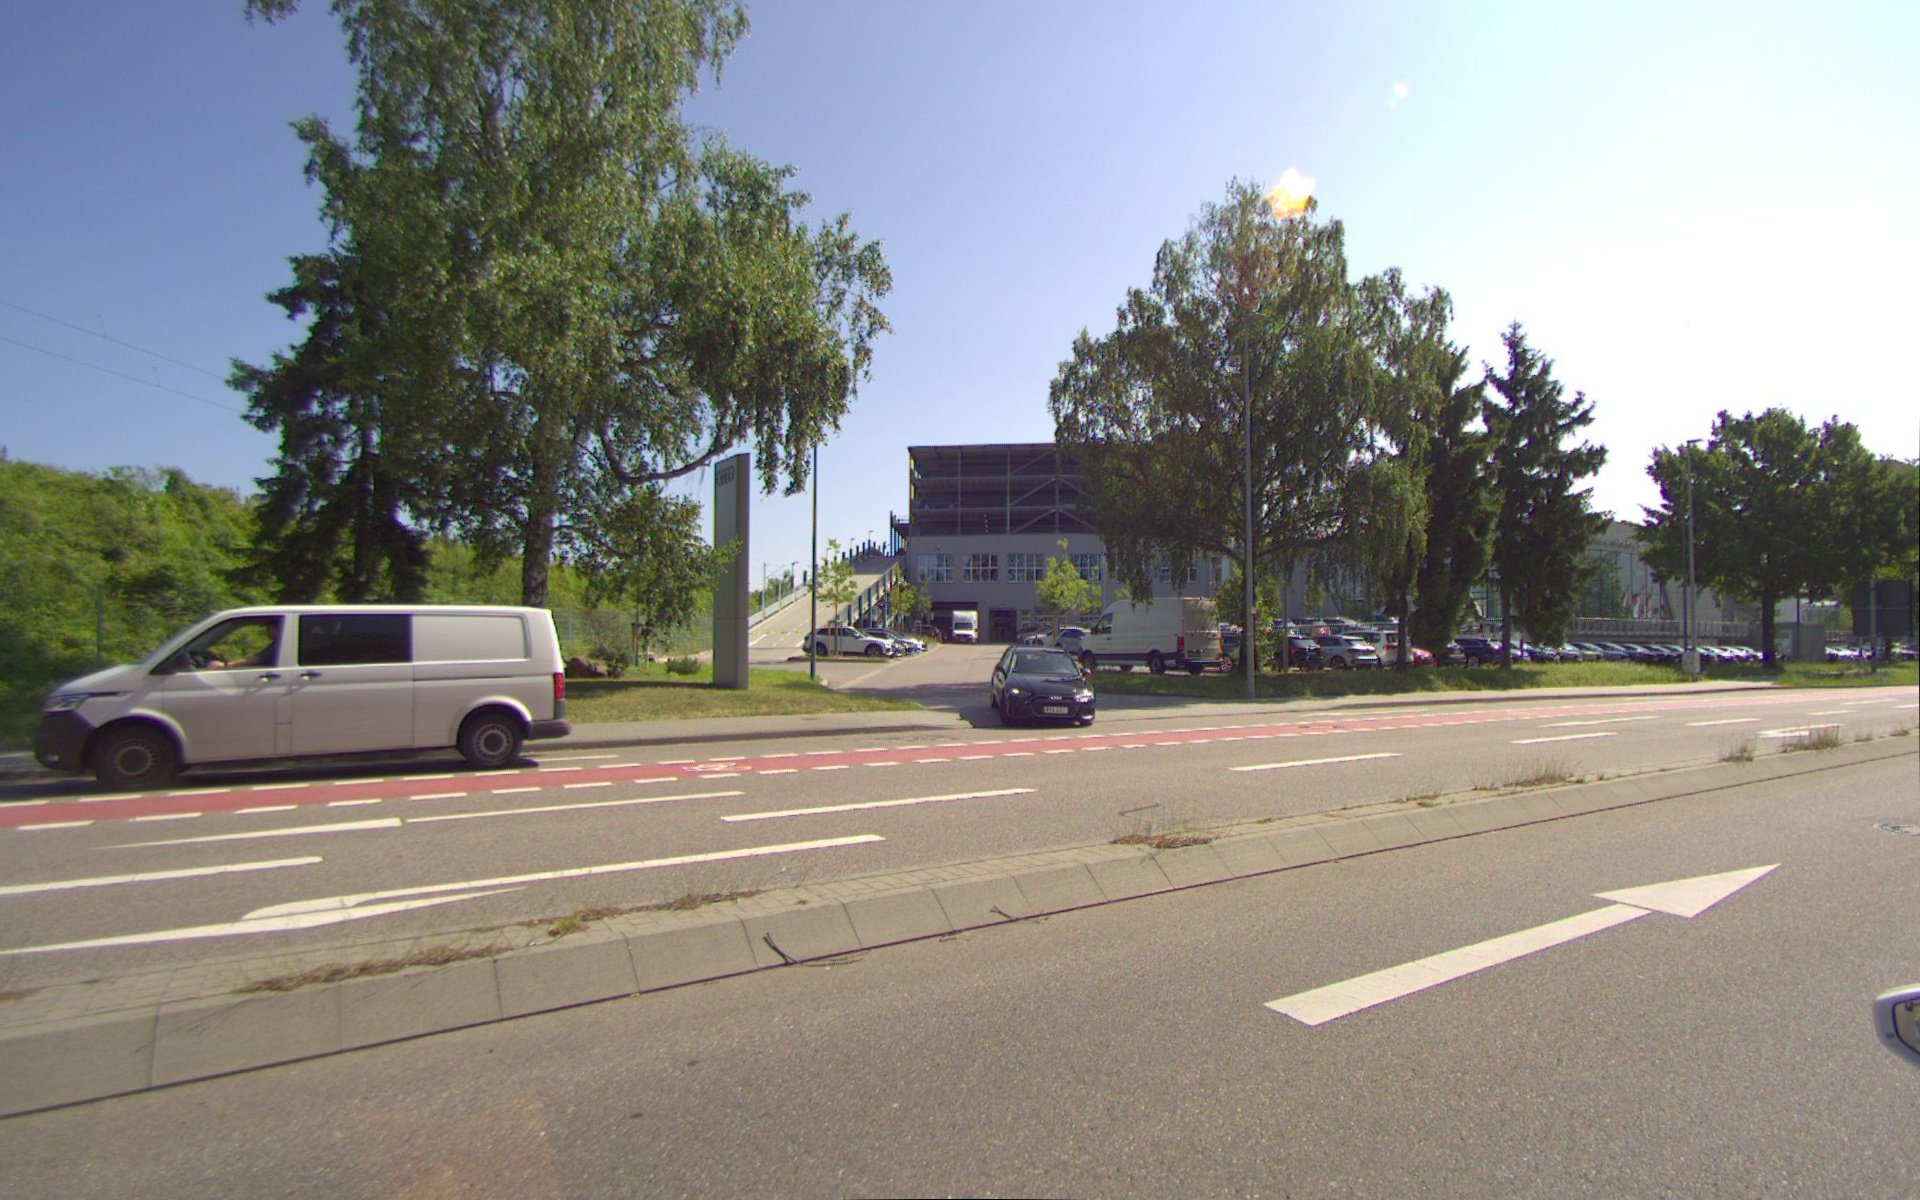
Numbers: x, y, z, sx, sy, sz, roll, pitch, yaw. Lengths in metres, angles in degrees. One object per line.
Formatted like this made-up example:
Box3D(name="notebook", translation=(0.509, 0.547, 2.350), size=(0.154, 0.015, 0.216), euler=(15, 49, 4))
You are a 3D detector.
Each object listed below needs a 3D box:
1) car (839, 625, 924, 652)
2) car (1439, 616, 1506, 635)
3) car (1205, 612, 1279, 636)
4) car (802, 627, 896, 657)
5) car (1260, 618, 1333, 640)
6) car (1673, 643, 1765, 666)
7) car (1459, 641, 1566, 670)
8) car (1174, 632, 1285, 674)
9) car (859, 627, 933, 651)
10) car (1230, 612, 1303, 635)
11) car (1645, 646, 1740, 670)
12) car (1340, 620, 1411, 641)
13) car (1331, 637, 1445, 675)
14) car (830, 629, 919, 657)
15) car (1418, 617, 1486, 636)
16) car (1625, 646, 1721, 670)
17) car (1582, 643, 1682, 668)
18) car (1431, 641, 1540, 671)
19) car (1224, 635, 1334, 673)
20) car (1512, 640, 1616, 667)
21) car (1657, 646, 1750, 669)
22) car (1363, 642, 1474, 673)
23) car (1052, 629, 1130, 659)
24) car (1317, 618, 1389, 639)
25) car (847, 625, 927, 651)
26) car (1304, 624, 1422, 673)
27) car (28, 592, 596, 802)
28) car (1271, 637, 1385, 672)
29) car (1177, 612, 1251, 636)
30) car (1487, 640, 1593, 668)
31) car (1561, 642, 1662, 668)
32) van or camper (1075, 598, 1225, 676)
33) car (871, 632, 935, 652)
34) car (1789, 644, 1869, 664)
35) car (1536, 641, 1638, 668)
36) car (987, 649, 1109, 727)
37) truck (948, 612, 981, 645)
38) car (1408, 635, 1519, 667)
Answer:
Box3D(name="car", translation=(-4.290, 2.121, 55.242), size=(4.459, 1.461, 2.001), euler=(0, -2, 1))
Box3D(name="car", translation=(39.207, 1.958, 76.906), size=(1.932, 1.368, 4.245), euler=(1, -3, -31))
Box3D(name="car", translation=(17.464, 1.510, 62.415), size=(1.932, 1.368, 4.245), euler=(1, -3, -31))
Box3D(name="car", translation=(-5.521, 2.085, 50.282), size=(4.459, 1.461, 2.001), euler=(0, -2, 1))
Box3D(name="car", translation=(21.757, 1.913, 65.024), size=(1.932, 1.368, 4.245), euler=(1, -3, -31))
Box3D(name="car", translation=(48.015, 3.425, 63.647), size=(1.931, 1.368, 4.247), euler=(1, -3, -30))
Box3D(name="car", translation=(27.147, 2.699, 49.470), size=(1.931, 1.368, 4.247), euler=(1, -3, -30))
Box3D(name="car", translation=(9.993, 1.955, 37.541), size=(1.721, 1.457, 4.073), euler=(1, -2, -27))
Box3D(name="car", translation=(-3.977, 2.451, 63.185), size=(4.459, 1.461, 2.001), euler=(0, -2, 1))
Box3D(name="car", translation=(19.425, 1.527, 63.780), size=(1.932, 1.368, 4.245), euler=(1, -3, -31))
Box3D(name="car", translation=(44.501, 3.486, 61.117), size=(1.931, 1.368, 4.247), euler=(1, -3, -30))
Box3D(name="car", translation=(28.588, 2.129, 69.194), size=(1.932, 1.368, 4.245), euler=(1, -3, -31))
Box3D(name="car", translation=(18.318, 2.382, 43.172), size=(1.931, 1.523, 4.247), euler=(1, -3, -30))
Box3D(name="car", translation=(-4.443, 2.257, 52.675), size=(4.459, 1.461, 2.001), euler=(0, -2, 1))
Box3D(name="car", translation=(36.882, 2.005, 75.357), size=(1.932, 1.368, 4.245), euler=(1, -3, -31))
Box3D(name="car", translation=(42.184, 3.398, 59.545), size=(1.931, 1.368, 4.247), euler=(1, -3, -30))
Box3D(name="car", translation=(37.715, 3.090, 56.490), size=(1.931, 1.368, 4.247), euler=(1, -3, -30))
Box3D(name="car", translation=(25.047, 2.630, 48.026), size=(1.931, 1.368, 4.247), euler=(1, -3, -30))
Box3D(name="car", translation=(12.142, 2.059, 38.487), size=(1.721, 1.372, 4.073), euler=(2, -3, -27))
Box3D(name="car", translation=(31.401, 2.760, 52.310), size=(1.931, 1.368, 4.247), euler=(1, -3, -30))
Box3D(name="car", translation=(46.123, 3.541, 62.434), size=(1.931, 1.368, 4.247), euler=(1, -3, -30))
Box3D(name="car", translation=(20.497, 2.548, 45.059), size=(1.931, 1.345, 4.247), euler=(1, -3, -30))
Box3D(name="car", translation=(6.217, 2.087, 48.066), size=(1.721, 1.372, 4.073), euler=(1, -3, -27))
Box3D(name="car", translation=(26.562, 1.980, 68.003), size=(1.932, 1.368, 4.245), euler=(1, -3, -31))
Box3D(name="car", translation=(-4.205, 2.187, 58.153), size=(4.459, 1.461, 2.001), euler=(0, -2, 1))
Box3D(name="car", translation=(16.488, 1.965, 41.320), size=(1.931, 1.909, 4.247), euler=(1, -3, -30))
Box3D(name="car", translation=(-7.329, 1.036, 12.046), size=(5.287, 2.040, 1.983), euler=(1, -3, -32))
Box3D(name="car", translation=(14.445, 2.122, 39.624), size=(1.723, 1.310, 4.068), euler=(1, -3, -30))
Box3D(name="car", translation=(15.266, 1.500, 60.636), size=(1.932, 1.368, 4.245), euler=(1, -3, -31))
Box3D(name="car", translation=(29.238, 2.708, 50.739), size=(1.931, 1.368, 4.247), euler=(1, -3, -30))
Box3D(name="car", translation=(35.635, 2.999, 55.048), size=(1.931, 1.368, 4.247), euler=(1, -3, -30))
Box3D(name="van or camper", translation=(6.542, 1.184, 35.197), size=(1.979, 2.504, 5.344), euler=(0, 0, -34))
Box3D(name="car", translation=(-4.038, 3.020, 72.278), size=(4.459, 1.461, 2.001), euler=(0, -2, 1))
Box3D(name="car", translation=(62.932, 3.907, 72.804), size=(2.003, 1.394, 4.021), euler=(1, -3, -32))
Box3D(name="car", translation=(33.465, 2.903, 53.719), size=(1.931, 1.368, 4.247), euler=(1, -3, -30))
Box3D(name="car", translation=(1.692, 1.741, 20.922), size=(1.961, 1.432, 4.681), euler=(0, -3, -2))
Box3D(name="truck", translation=(0.507, 2.740, 94.208), size=(2.612, 2.955, 8.468), euler=(0, -2, 3))
Box3D(name="car", translation=(23.108, 2.305, 46.273), size=(1.931, 1.399, 4.247), euler=(1, -3, -30))
